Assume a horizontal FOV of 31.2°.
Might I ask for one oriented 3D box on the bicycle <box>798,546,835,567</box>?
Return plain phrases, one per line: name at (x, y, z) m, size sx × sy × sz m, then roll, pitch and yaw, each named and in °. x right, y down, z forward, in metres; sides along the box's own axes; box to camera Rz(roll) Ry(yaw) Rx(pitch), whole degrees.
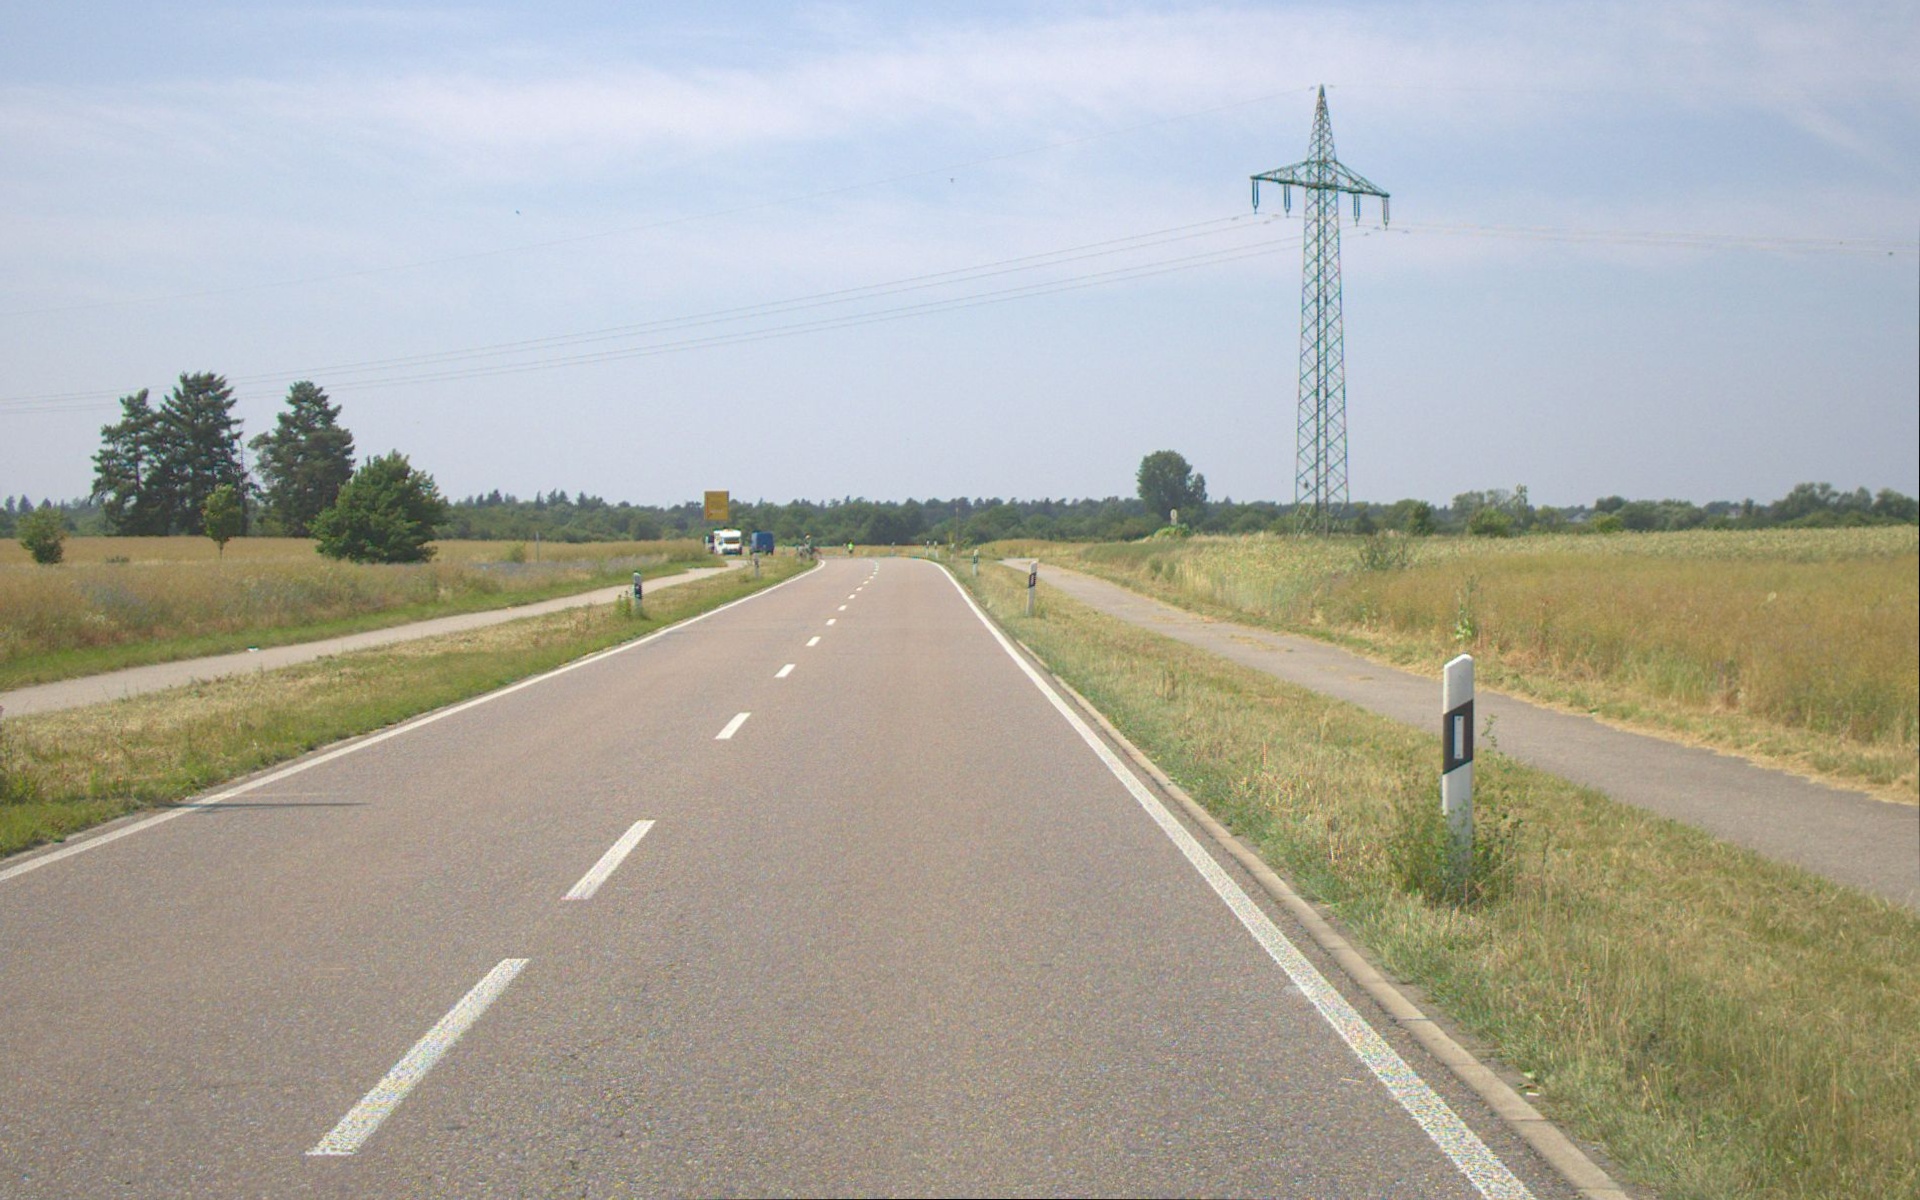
bicycle at (-8.325, -2.528, 199.517) m, size 0.764 × 1.224 × 2.210 m, roll 0°, pitch 1°, yaw 44°
